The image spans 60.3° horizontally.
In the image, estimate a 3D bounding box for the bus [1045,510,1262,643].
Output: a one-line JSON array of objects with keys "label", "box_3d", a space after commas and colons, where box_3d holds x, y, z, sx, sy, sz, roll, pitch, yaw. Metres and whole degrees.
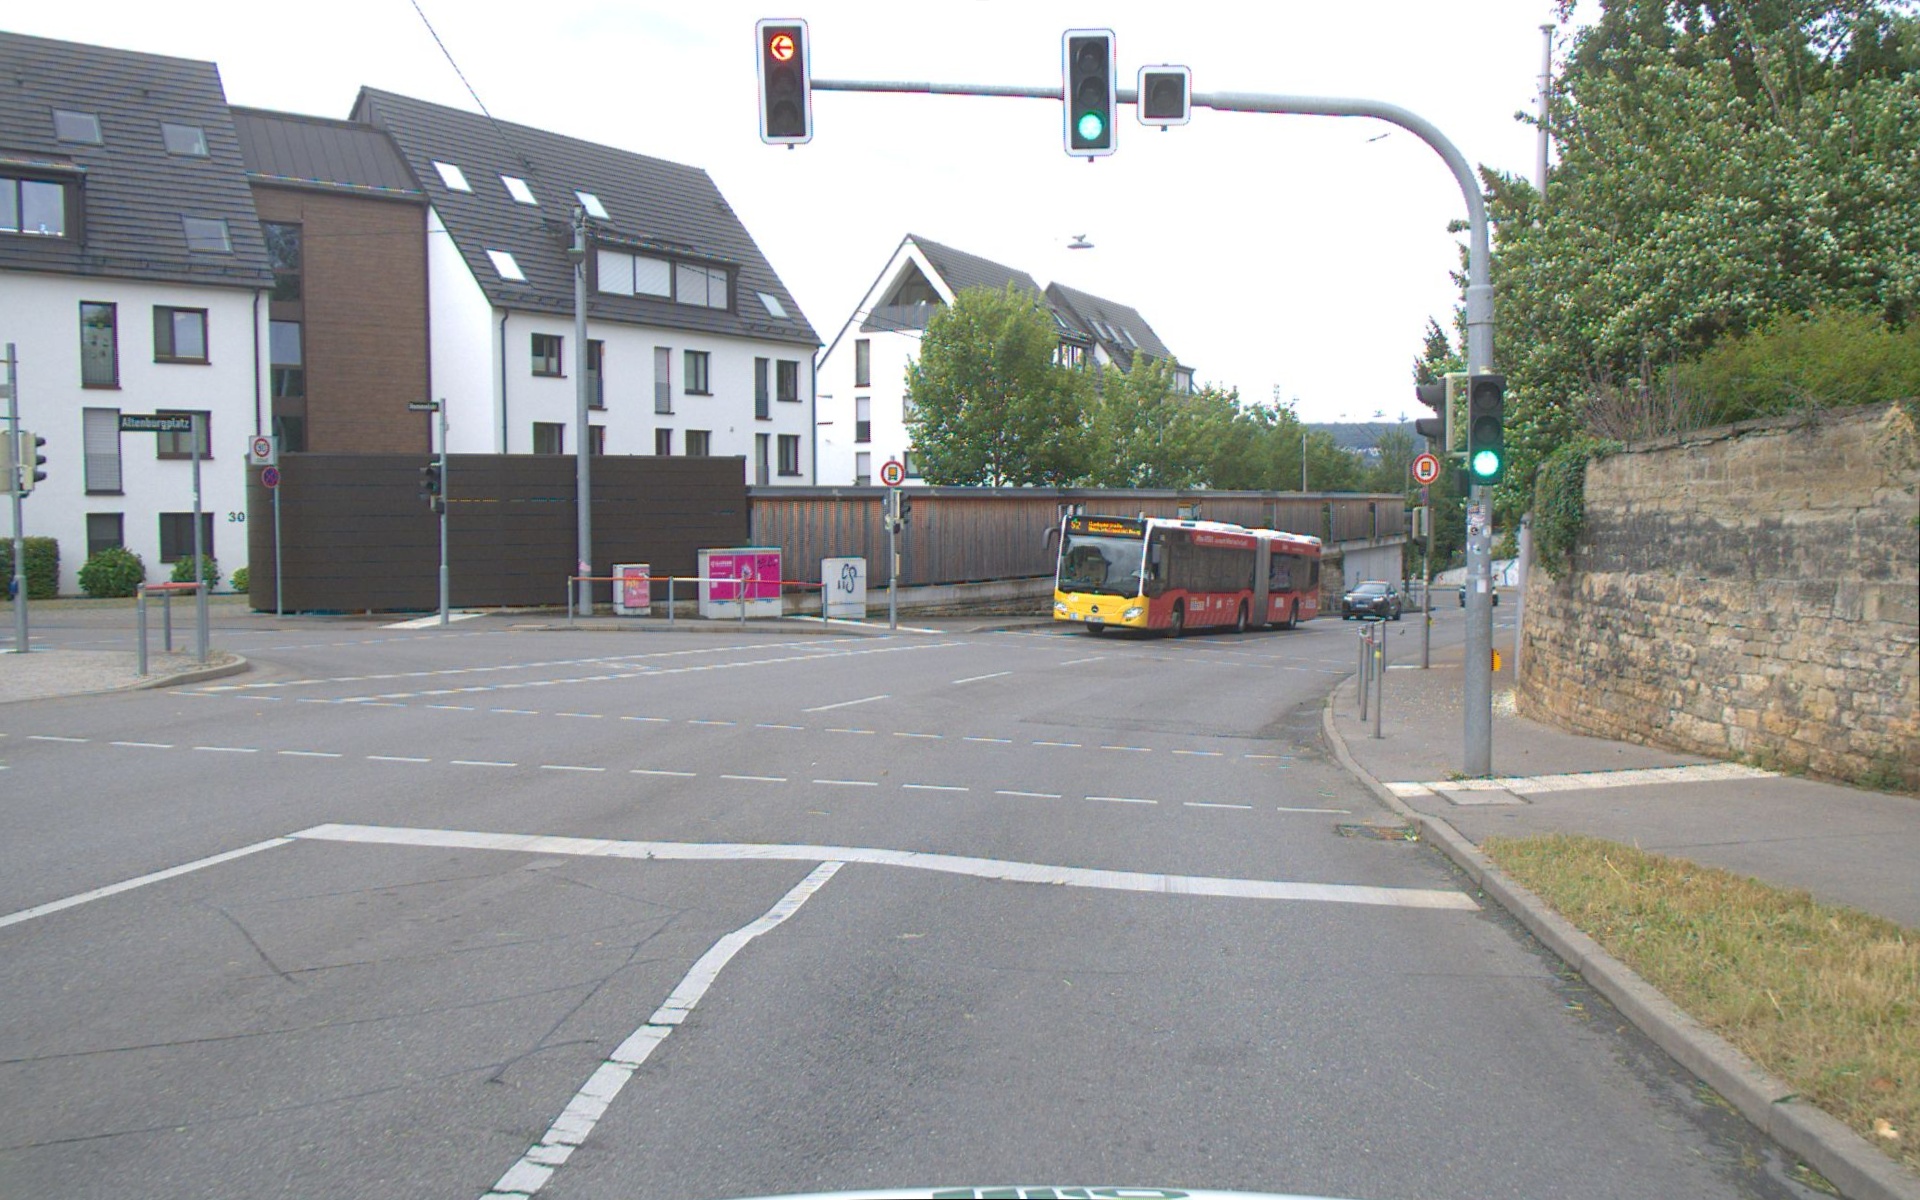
[{"label": "bus", "box_3d": [5.567, -0.603, 45.355, 2.606, 3.175, 10.009, 3, 1, 26]}]

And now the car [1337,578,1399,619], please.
[{"label": "car", "box_3d": [17.860, -0.062, 72.313, 1.883, 1.658, 4.521, 3, 1, 23]}]

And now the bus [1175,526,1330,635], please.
[{"label": "bus", "box_3d": [9.619, -0.612, 53.582, 2.606, 3.175, 8.284, 3, 1, 26]}]

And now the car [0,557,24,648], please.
[{"label": "car", "box_3d": [-18.429, 0.023, 27.884, 4.170, 1.539, 2.001, 0, 0, 2]}]
